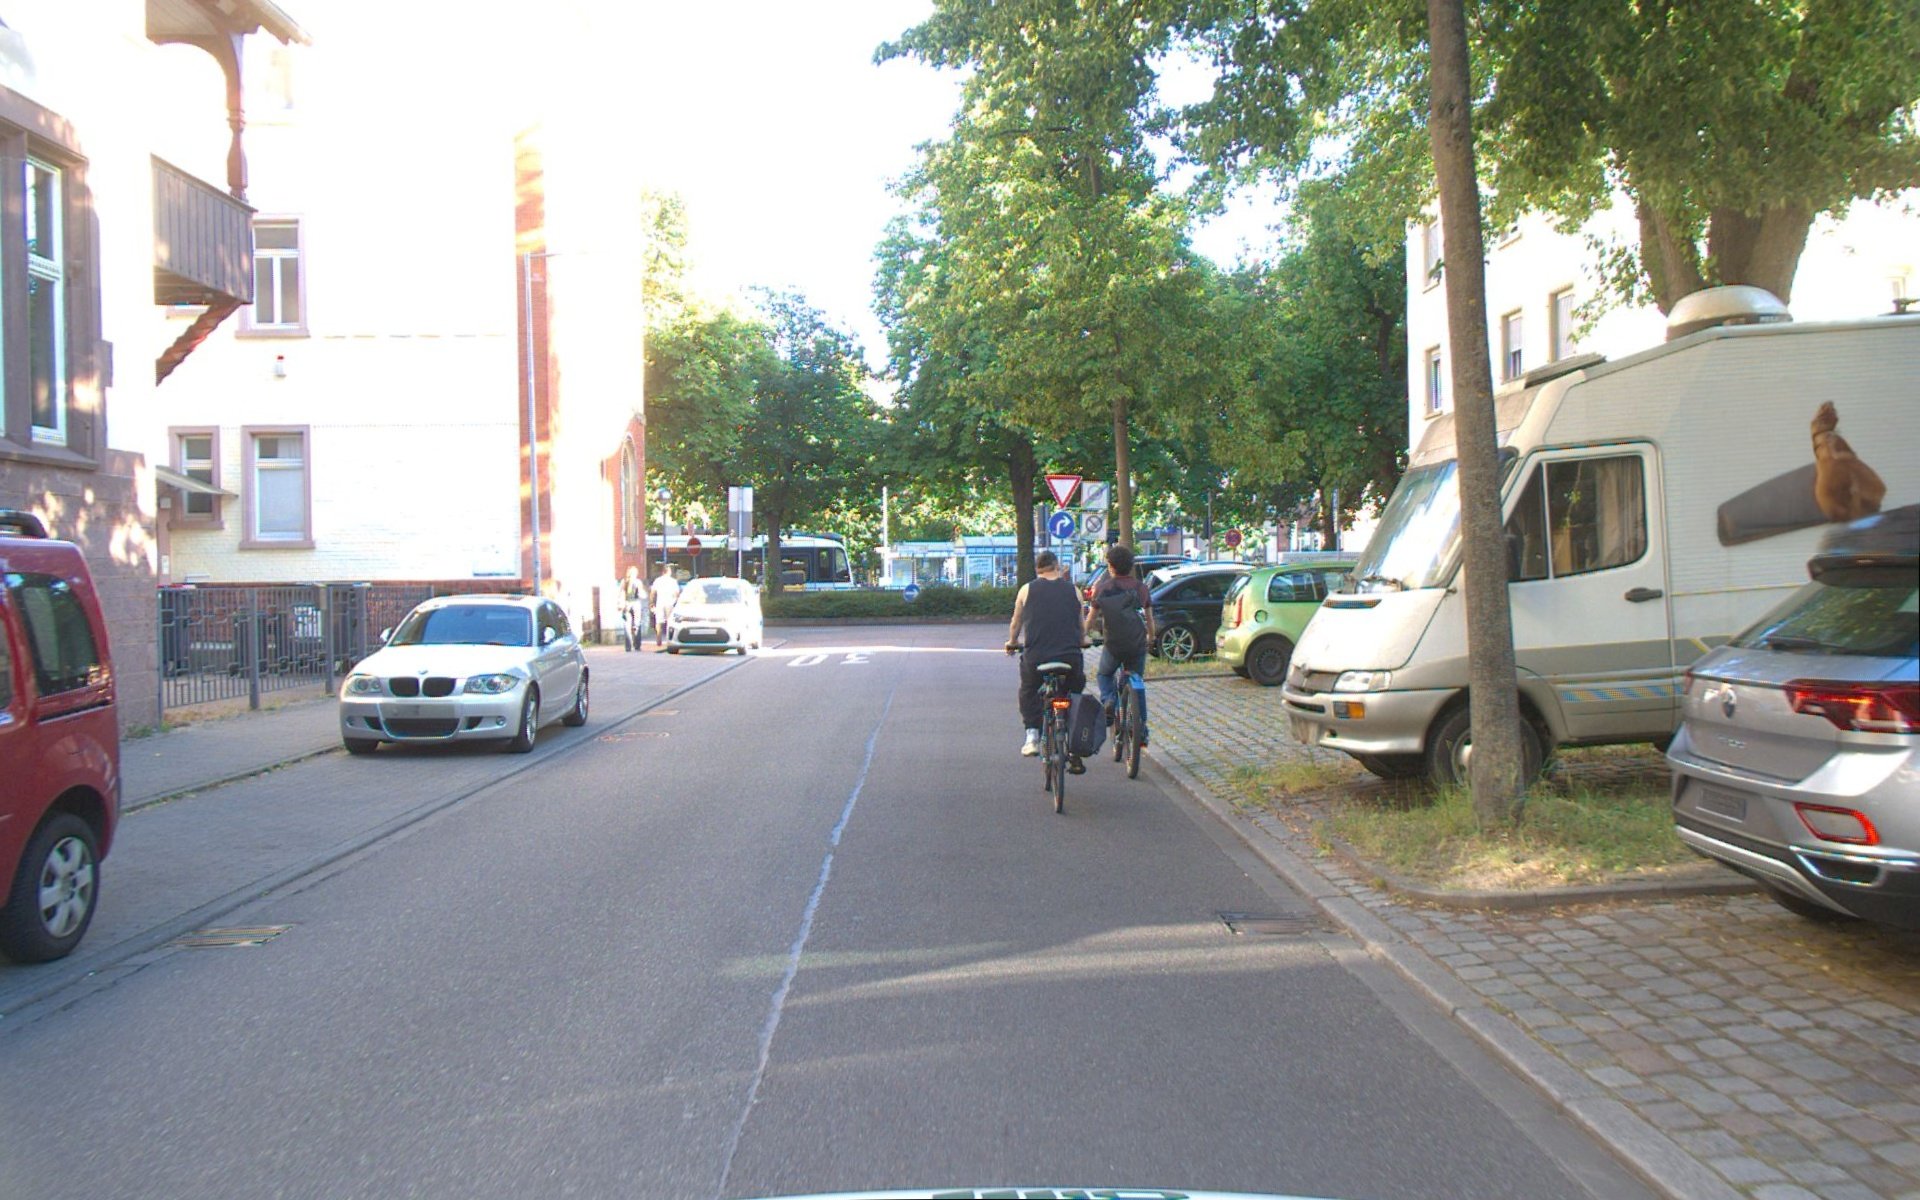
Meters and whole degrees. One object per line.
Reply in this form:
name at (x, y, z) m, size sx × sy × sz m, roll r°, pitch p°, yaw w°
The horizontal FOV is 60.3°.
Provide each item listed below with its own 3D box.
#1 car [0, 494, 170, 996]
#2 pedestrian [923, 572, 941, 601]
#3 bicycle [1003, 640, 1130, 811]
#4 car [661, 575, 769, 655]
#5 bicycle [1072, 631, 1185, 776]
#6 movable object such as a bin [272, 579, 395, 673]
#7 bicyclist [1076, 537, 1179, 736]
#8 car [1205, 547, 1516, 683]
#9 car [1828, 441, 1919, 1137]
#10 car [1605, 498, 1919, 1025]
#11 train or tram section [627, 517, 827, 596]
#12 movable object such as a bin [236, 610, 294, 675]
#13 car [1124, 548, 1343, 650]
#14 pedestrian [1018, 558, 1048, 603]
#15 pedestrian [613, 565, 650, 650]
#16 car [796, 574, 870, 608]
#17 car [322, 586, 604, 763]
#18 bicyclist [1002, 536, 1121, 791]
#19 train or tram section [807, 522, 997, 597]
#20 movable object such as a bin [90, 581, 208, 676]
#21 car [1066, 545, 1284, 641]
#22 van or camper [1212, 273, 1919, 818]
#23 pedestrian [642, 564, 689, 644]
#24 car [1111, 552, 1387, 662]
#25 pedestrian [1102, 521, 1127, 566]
car at (-4.575, 0.563, 5.595) m, size 1.762 × 1.940 × 4.324 m, roll 1°, pitch 1°, yaw -1°
pedestrian at (-1.532, -0.728, 90.521) m, size 0.795 × 1.570 × 0.818 m, roll 1°, pitch 1°, yaw -12°
bicycle at (0.711, 0.833, 11.679) m, size 0.722 × 1.030 × 2.061 m, roll 1°, pitch 0°, yaw -1°
car at (-4.982, 0.262, 34.074) m, size 1.670 × 1.511 × 3.797 m, roll 1°, pitch 1°, yaw -1°
bicycle at (1.356, 0.806, 13.645) m, size 0.660 × 1.072 × 2.060 m, roll -1°, pitch -1°, yaw -1°
movable object such as a bin at (-9.009, 0.363, 23.820) m, size 1.346 × 1.321 × 0.969 m, roll 0°, pitch 1°, yaw 9°
bicyclist at (1.355, 0.288, 13.533) m, size 0.658 × 1.541 × 1.068 m, roll -1°, pitch 0°, yaw -2°
car at (5.048, 0.161, 21.150) m, size 3.516 × 1.531 × 1.678 m, roll -2°, pitch 1°, yaw -1°
car at (4.331, 0.369, 3.666) m, size 3.835 × 1.774 × 1.729 m, roll -4°, pitch 0°, yaw -1°
car at (4.716, 0.371, 6.071) m, size 3.881 × 1.626 × 1.903 m, roll -4°, pitch 0°, yaw 1°
train or tram section at (-10.243, -1.878, 73.003) m, size 8.305 × 3.233 × 2.841 m, roll 1°, pitch 1°, yaw -24°
movable object such as a bin at (-9.826, 0.595, 23.395) m, size 0.470 × 0.894 × 0.673 m, roll 0°, pitch 1°, yaw 9°
car at (4.773, -0.025, 29.198) m, size 3.616 × 1.679 × 1.705 m, roll -1°, pitch 1°, yaw 2°
pedestrian at (3.213, -0.848, 72.498) m, size 1.003 × 1.930 × 0.906 m, roll -1°, pitch 1°, yaw -23°
pedestrian at (-6.484, 0.136, 32.664) m, size 0.588 × 1.633 × 0.854 m, roll -1°, pitch 1°, yaw -4°
car at (-7.647, -0.562, 99.587) m, size 3.939 × 1.903 × 1.983 m, roll -2°, pitch 1°, yaw -27°
car at (-4.740, 0.624, 16.363) m, size 1.709 × 1.492 × 4.101 m, roll 0°, pitch 1°, yaw -3°
bicyclist at (0.701, 0.424, 11.650) m, size 0.737 × 1.711 × 0.913 m, roll -1°, pitch 1°, yaw -1°
train or tram section at (-2.647, -1.818, 76.381) m, size 8.305 × 3.257 × 2.841 m, roll 1°, pitch 1°, yaw -24°
movable object such as a bin at (-11.695, 0.399, 23.877) m, size 1.354 × 1.340 × 0.686 m, roll -1°, pitch 1°, yaw -8°
car at (4.339, -0.171, 33.737) m, size 4.026 × 1.742 × 2.022 m, roll -2°, pitch 2°, yaw -5°
van or camper at (5.399, -0.394, 11.093) m, size 6.936 × 3.131 × 2.463 m, roll -1°, pitch 1°, yaw -4°
pedestrian at (-6.318, 0.076, 35.525) m, size 0.849 × 1.671 × 0.860 m, roll -1°, pitch 1°, yaw -1°
car at (4.546, 0.095, 26.430) m, size 4.022 × 1.436 × 1.792 m, roll -4°, pitch 1°, yaw -1°
pedestrian at (5.944, -2.166, 63.568) m, size 0.896 × 1.713 × 0.781 m, roll -1°, pitch 1°, yaw 9°
